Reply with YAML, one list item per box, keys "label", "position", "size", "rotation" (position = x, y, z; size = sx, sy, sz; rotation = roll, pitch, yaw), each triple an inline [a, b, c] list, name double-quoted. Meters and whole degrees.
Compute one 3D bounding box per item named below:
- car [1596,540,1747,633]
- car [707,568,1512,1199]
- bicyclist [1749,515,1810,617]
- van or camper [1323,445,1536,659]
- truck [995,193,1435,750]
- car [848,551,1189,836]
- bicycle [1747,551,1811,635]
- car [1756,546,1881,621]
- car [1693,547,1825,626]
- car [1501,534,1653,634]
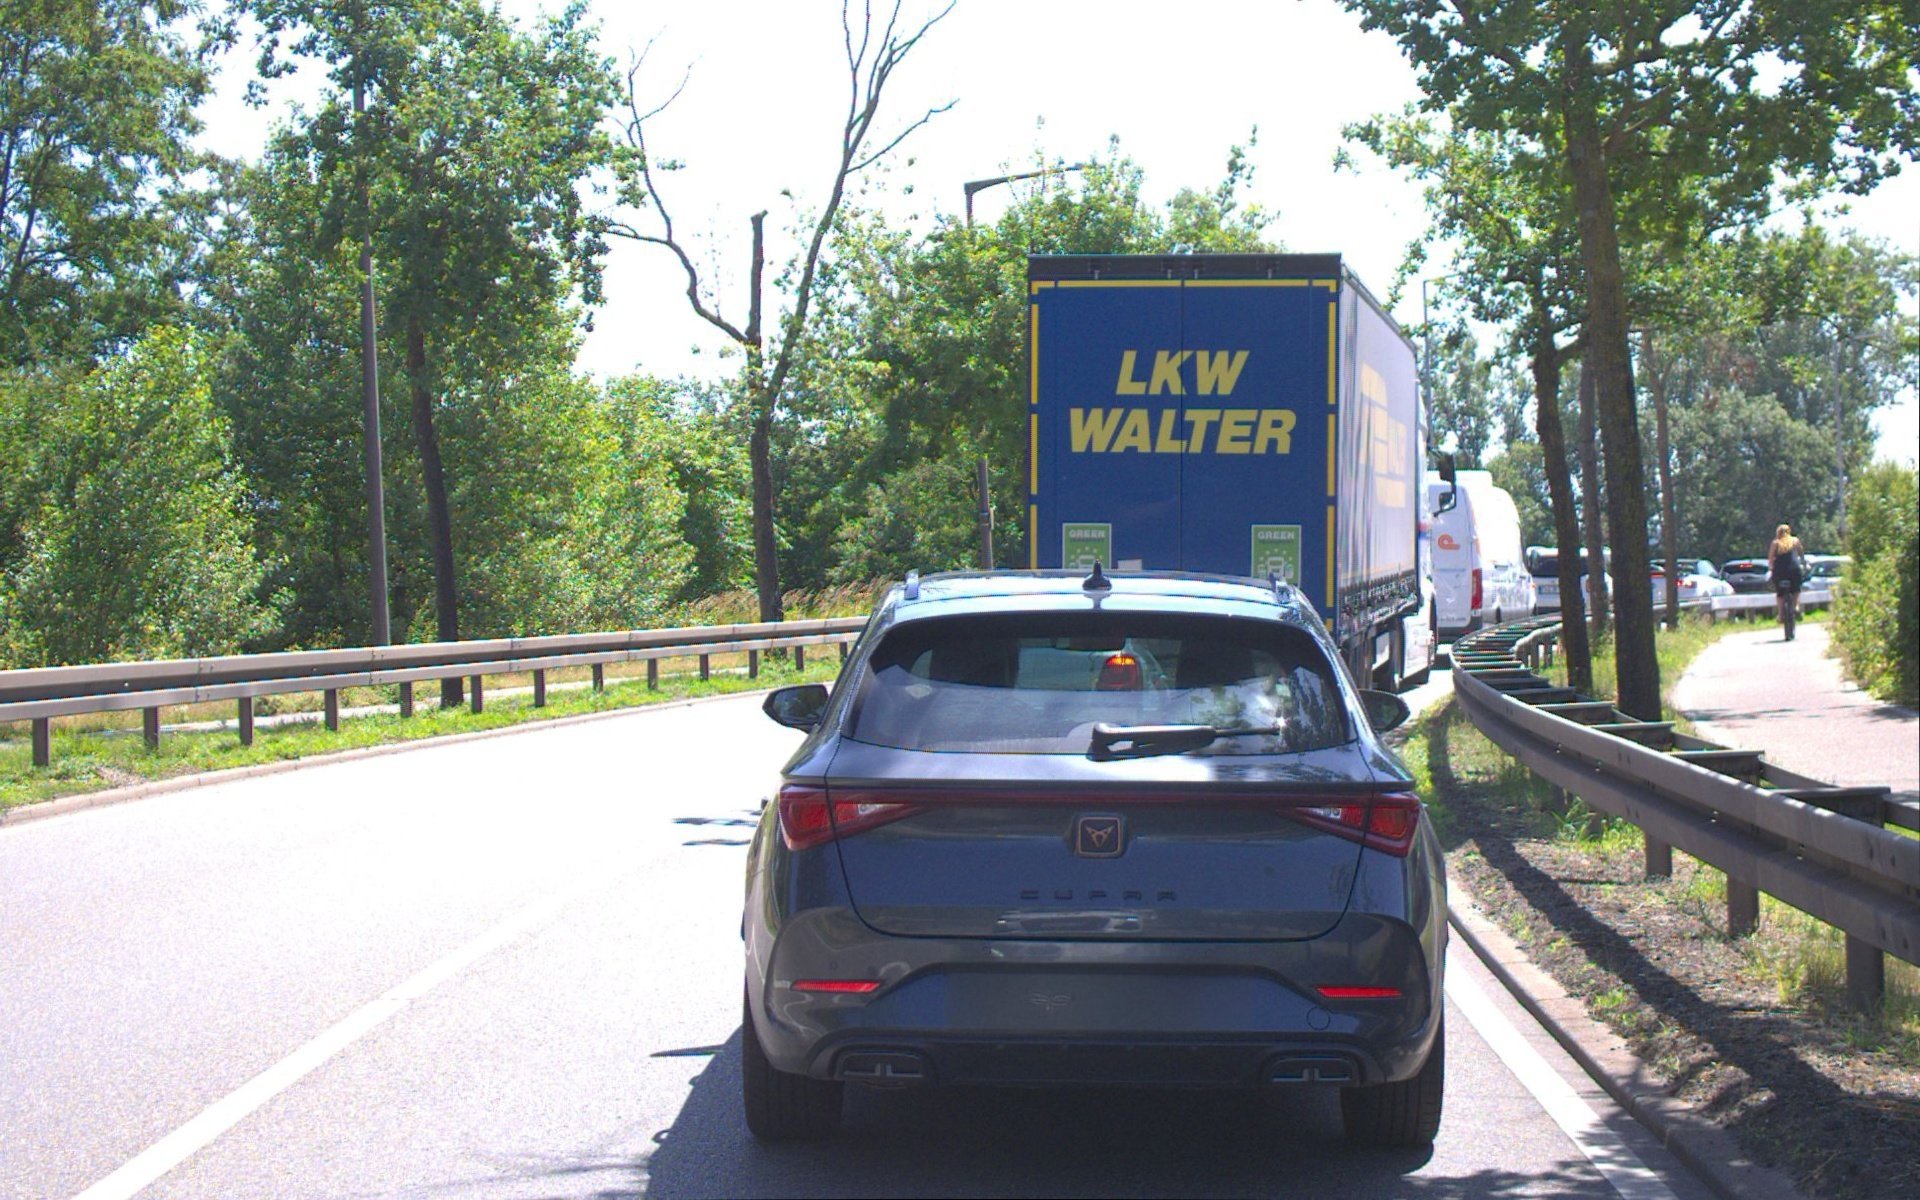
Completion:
- label: "car"
  position: [14.363, -0.279, 69.191]
  size: [1.996, 1.802, 4.839]
  rotation: [1, 1, 24]
- label: "car"
  position: [0.268, 0.635, 9.428]
  size: [1.744, 1.427, 3.880]
  rotation: [0, 1, -2]
- label: "bicyclist"
  position: [12.334, -0.508, 51.754]
  size: [0.861, 1.518, 0.980]
  rotation: [1, 0, 12]
- label: "van or camper"
  position: [7.067, -0.701, 51.169]
  size: [2.468, 2.988, 6.082]
  rotation: [1, 1, 14]
- label: "truck"
  position: [3.178, -1.108, 35.904]
  size: [2.951, 4.433, 16.791]
  rotation: [1, 1, 10]
- label: "car"
  position: [0.429, 0.478, 20.357]
  size: [1.809, 1.503, 4.000]
  rotation: [1, 1, 3]
- label: "bicycle"
  position: [12.338, -0.114, 51.861]
  size: [0.861, 1.232, 2.308]
  rotation: [1, 1, 12]
- label: "car"
  position: [20.789, -0.404, 83.141]
  size: [1.996, 1.762, 4.748]
  rotation: [1, 1, 26]
- label: "car"
  position: [17.875, -0.310, 76.738]
  size: [1.996, 1.711, 4.862]
  rotation: [1, 1, 24]
- label: "car"
  position: [11.028, -0.296, 61.219]
  size: [1.995, 1.706, 4.616]
  rotation: [1, 1, 19]
